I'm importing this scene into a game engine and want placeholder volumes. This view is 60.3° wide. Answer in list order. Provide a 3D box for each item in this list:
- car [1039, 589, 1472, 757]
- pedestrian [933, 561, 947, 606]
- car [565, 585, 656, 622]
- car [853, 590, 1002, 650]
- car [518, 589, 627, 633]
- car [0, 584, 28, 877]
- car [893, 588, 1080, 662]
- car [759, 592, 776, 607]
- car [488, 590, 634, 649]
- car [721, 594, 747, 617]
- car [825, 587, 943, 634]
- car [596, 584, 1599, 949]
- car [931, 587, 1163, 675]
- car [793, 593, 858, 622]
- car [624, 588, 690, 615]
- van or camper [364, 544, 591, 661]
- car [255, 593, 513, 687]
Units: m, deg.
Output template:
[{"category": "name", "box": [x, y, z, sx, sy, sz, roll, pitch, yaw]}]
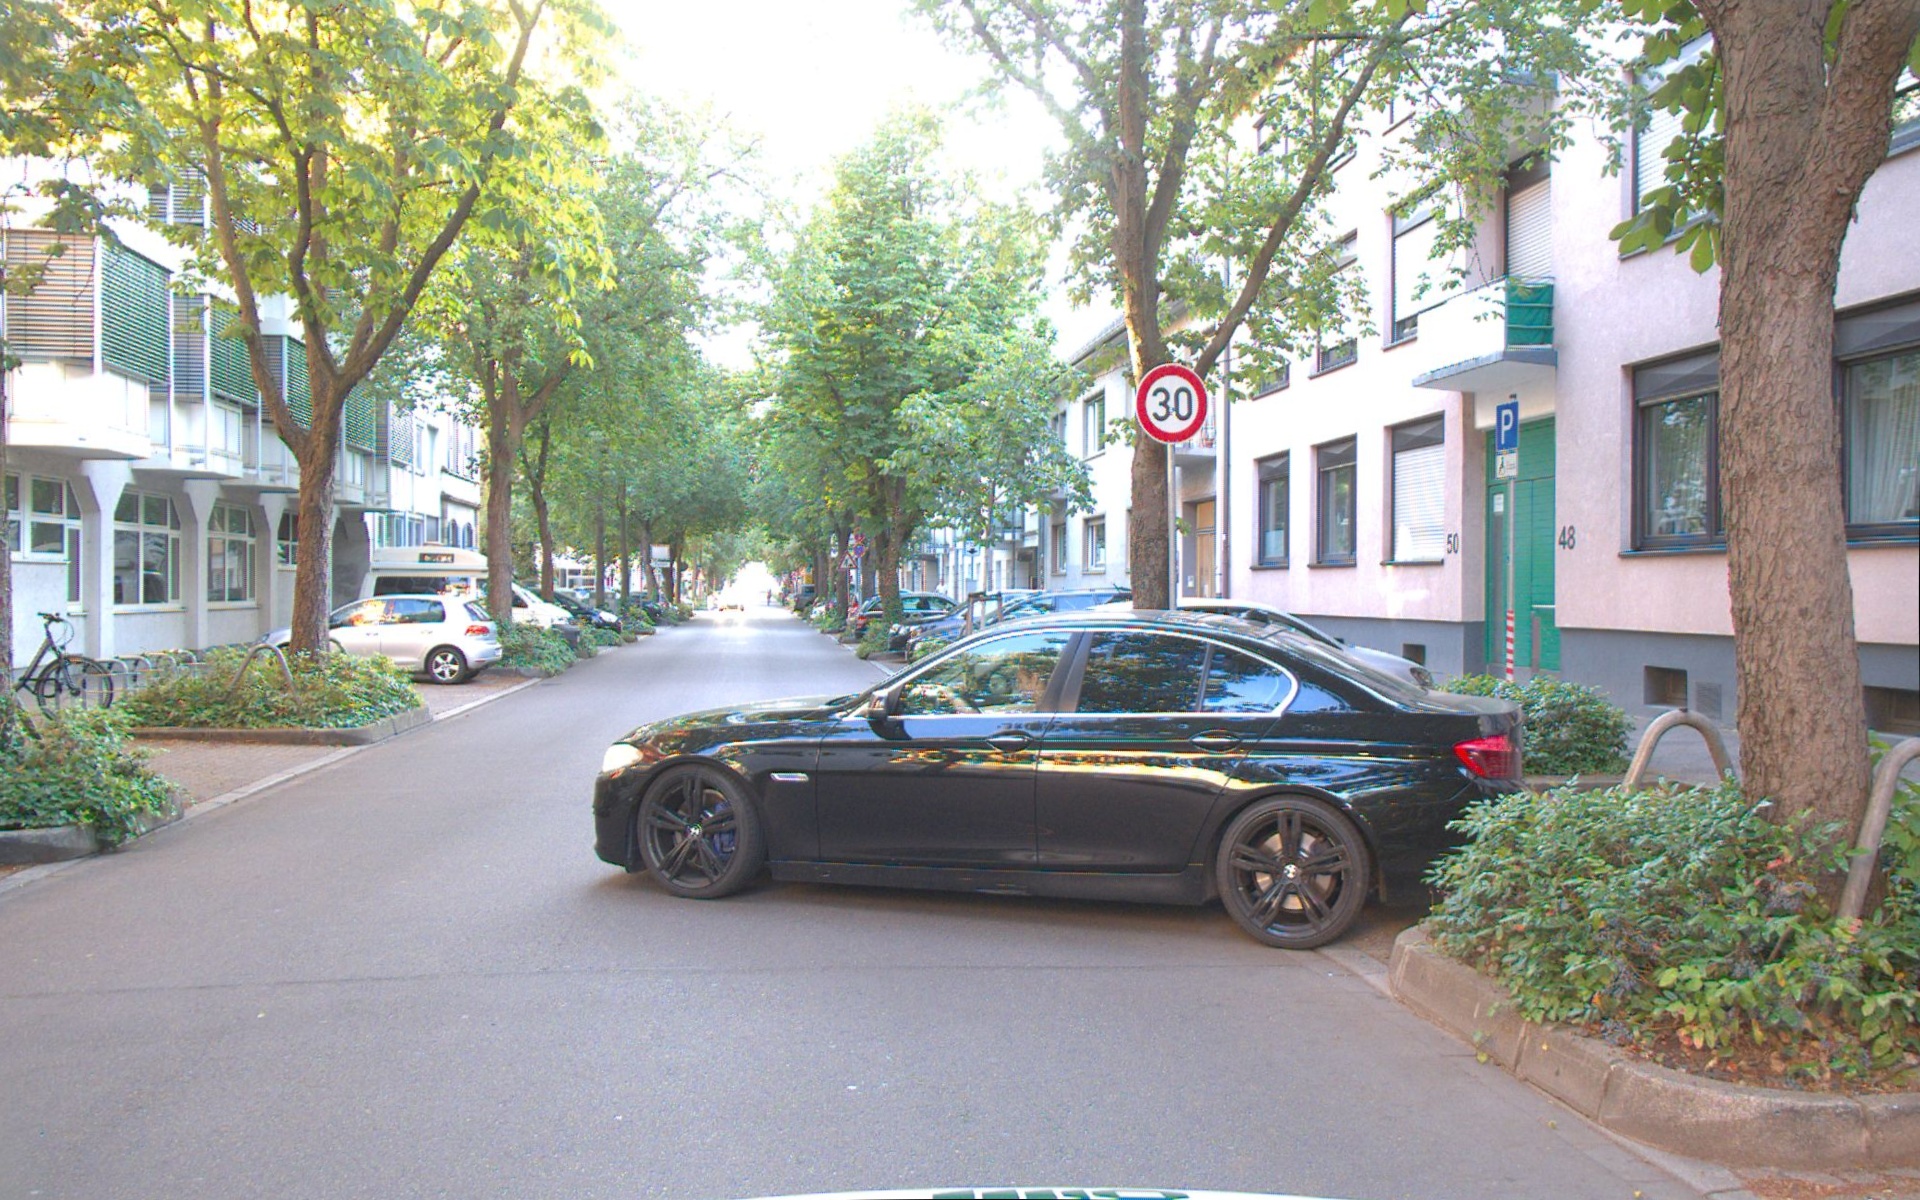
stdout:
[{"category": "car", "box": [2.808, 0.657, 16.108, 3.836, 1.502, 1.661, 0, 0, -9]}, {"category": "pedestrian", "box": [-0.887, -0.749, 75.049, 0.577, 2.049, 0.669, 0, 0, -6]}, {"category": "car", "box": [-15.993, 0.140, 75.907, 3.891, 1.647, 1.783, 0, 0, -6]}, {"category": "car", "box": [-0.911, 0.520, 44.938, 3.893, 1.554, 1.782, 0, 0, -8]}, {"category": "car", "box": [-15.016, 0.421, 64.272, 3.891, 1.647, 1.783, 0, 0, -6]}, {"category": "car", "box": [-7.106, 0.699, 7.867, 4.272, 1.544, 1.782, 0, 0, -7]}, {"category": "car", "box": [0.540, 0.513, 36.149, 3.893, 1.554, 1.782, 0, 0, -8]}, {"category": "car", "box": [-20.713, -0.058, 178.219, 1.787, 1.557, 3.995, -1, 0, -6]}, {"category": "car", "box": [-11.495, 0.548, 47.858, 3.892, 1.647, 1.783, 0, 0, -6]}, {"category": "car", "box": [-15.984, 0.401, 117.151, 1.745, 1.589, 4.162, 0, 0, -6]}, {"category": "car", "box": [-2.632, 0.346, 56.778, 3.894, 1.554, 1.782, 0, 0, -9]}, {"category": "car", "box": [0.677, 0.682, 8.377, 4.645, 1.506, 1.801, 0, 0, 17]}, {"category": "car", "box": [1.531, 0.525, 29.702, 3.894, 1.502, 1.781, 0, 0, -9]}, {"category": "car", "box": [-8.172, 0.439, 100.643, 3.891, 1.713, 1.783, 0, 0, -6]}, {"category": "car", "box": [-18.722, 0.096, 102.366, 3.891, 1.647, 1.783, 0, 0, -6]}, {"category": "van or camper", "box": [-10.675, 0.042, 36.880, 4.575, 2.521, 1.997, 0, 0, -7]}, {"category": "car", "box": [-9.865, 0.662, 28.578, 3.892, 1.544, 1.783, 0, 0, -6]}]
